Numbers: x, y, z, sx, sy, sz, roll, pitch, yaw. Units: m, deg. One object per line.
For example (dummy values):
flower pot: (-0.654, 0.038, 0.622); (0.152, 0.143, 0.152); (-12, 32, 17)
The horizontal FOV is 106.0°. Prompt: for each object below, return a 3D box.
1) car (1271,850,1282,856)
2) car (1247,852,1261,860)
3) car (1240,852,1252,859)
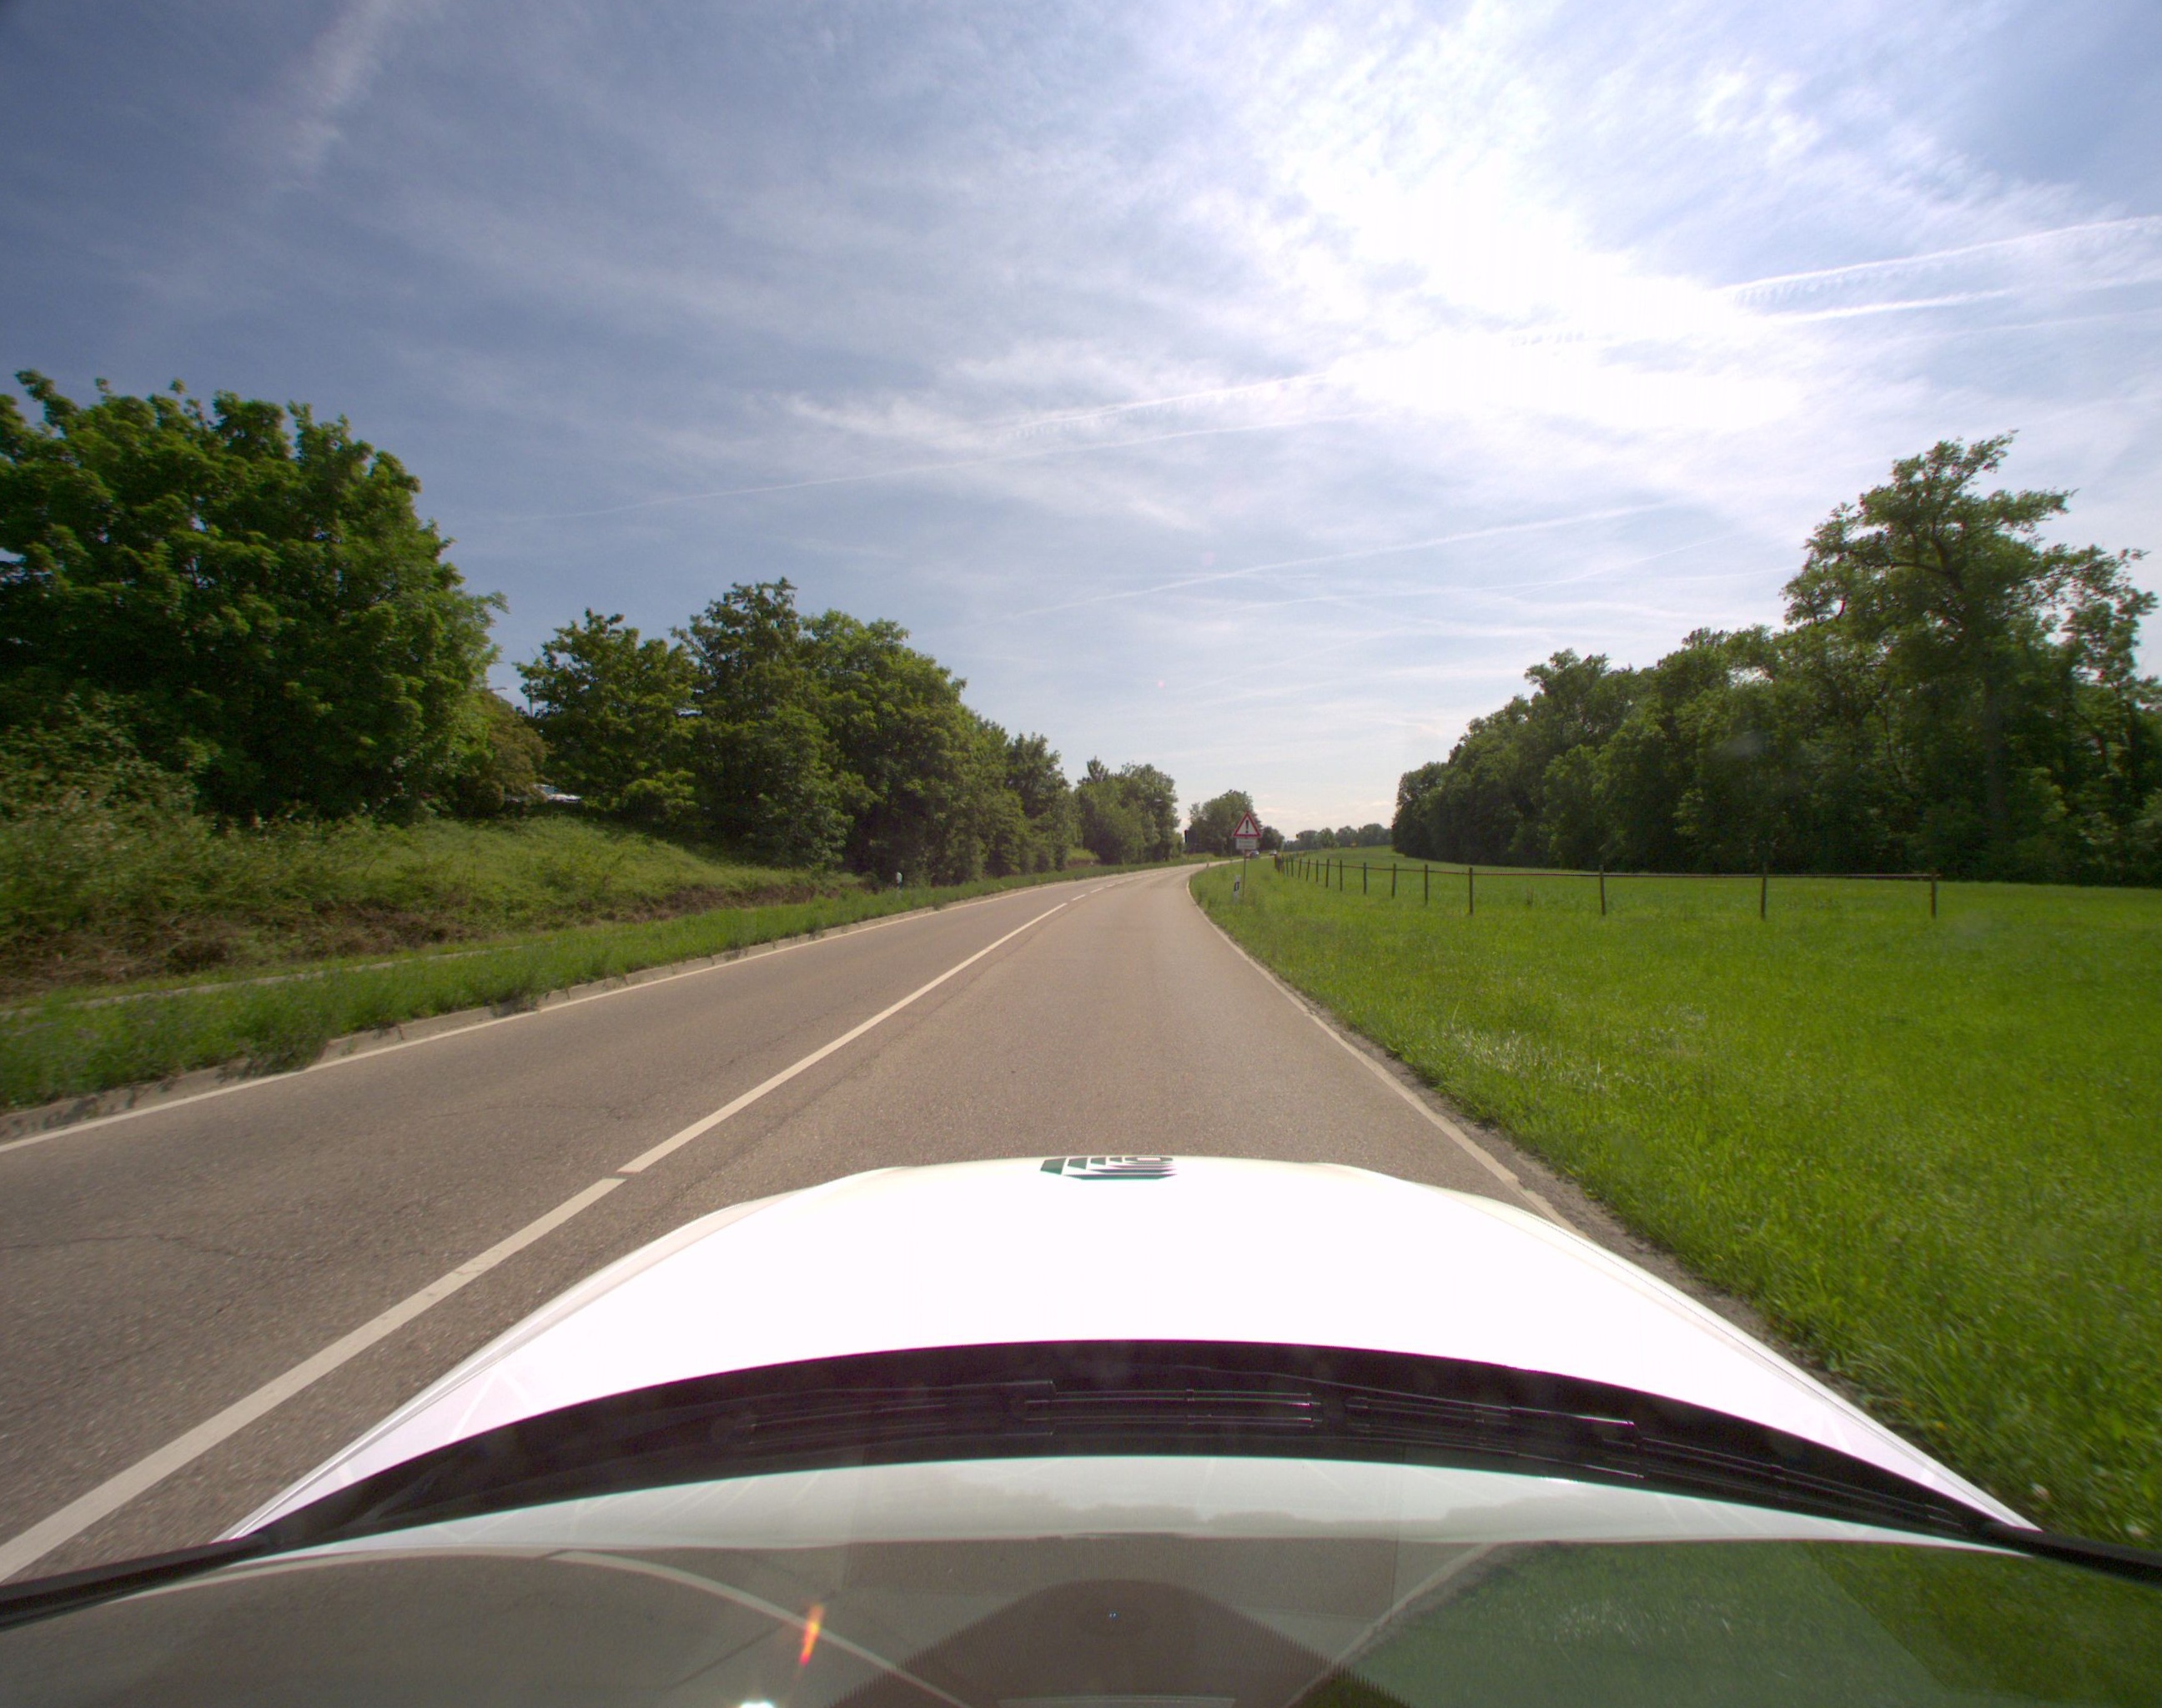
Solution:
car: (51.863, -0.215, 216.269); (1.803, 1.469, 4.025); (0, 0, 30)
car: (33.022, 0.397, 155.234); (1.977, 1.574, 4.020); (-1, 0, 20)
car: (34.709, 0.314, 171.537); (1.805, 1.469, 4.021); (0, 0, 22)
